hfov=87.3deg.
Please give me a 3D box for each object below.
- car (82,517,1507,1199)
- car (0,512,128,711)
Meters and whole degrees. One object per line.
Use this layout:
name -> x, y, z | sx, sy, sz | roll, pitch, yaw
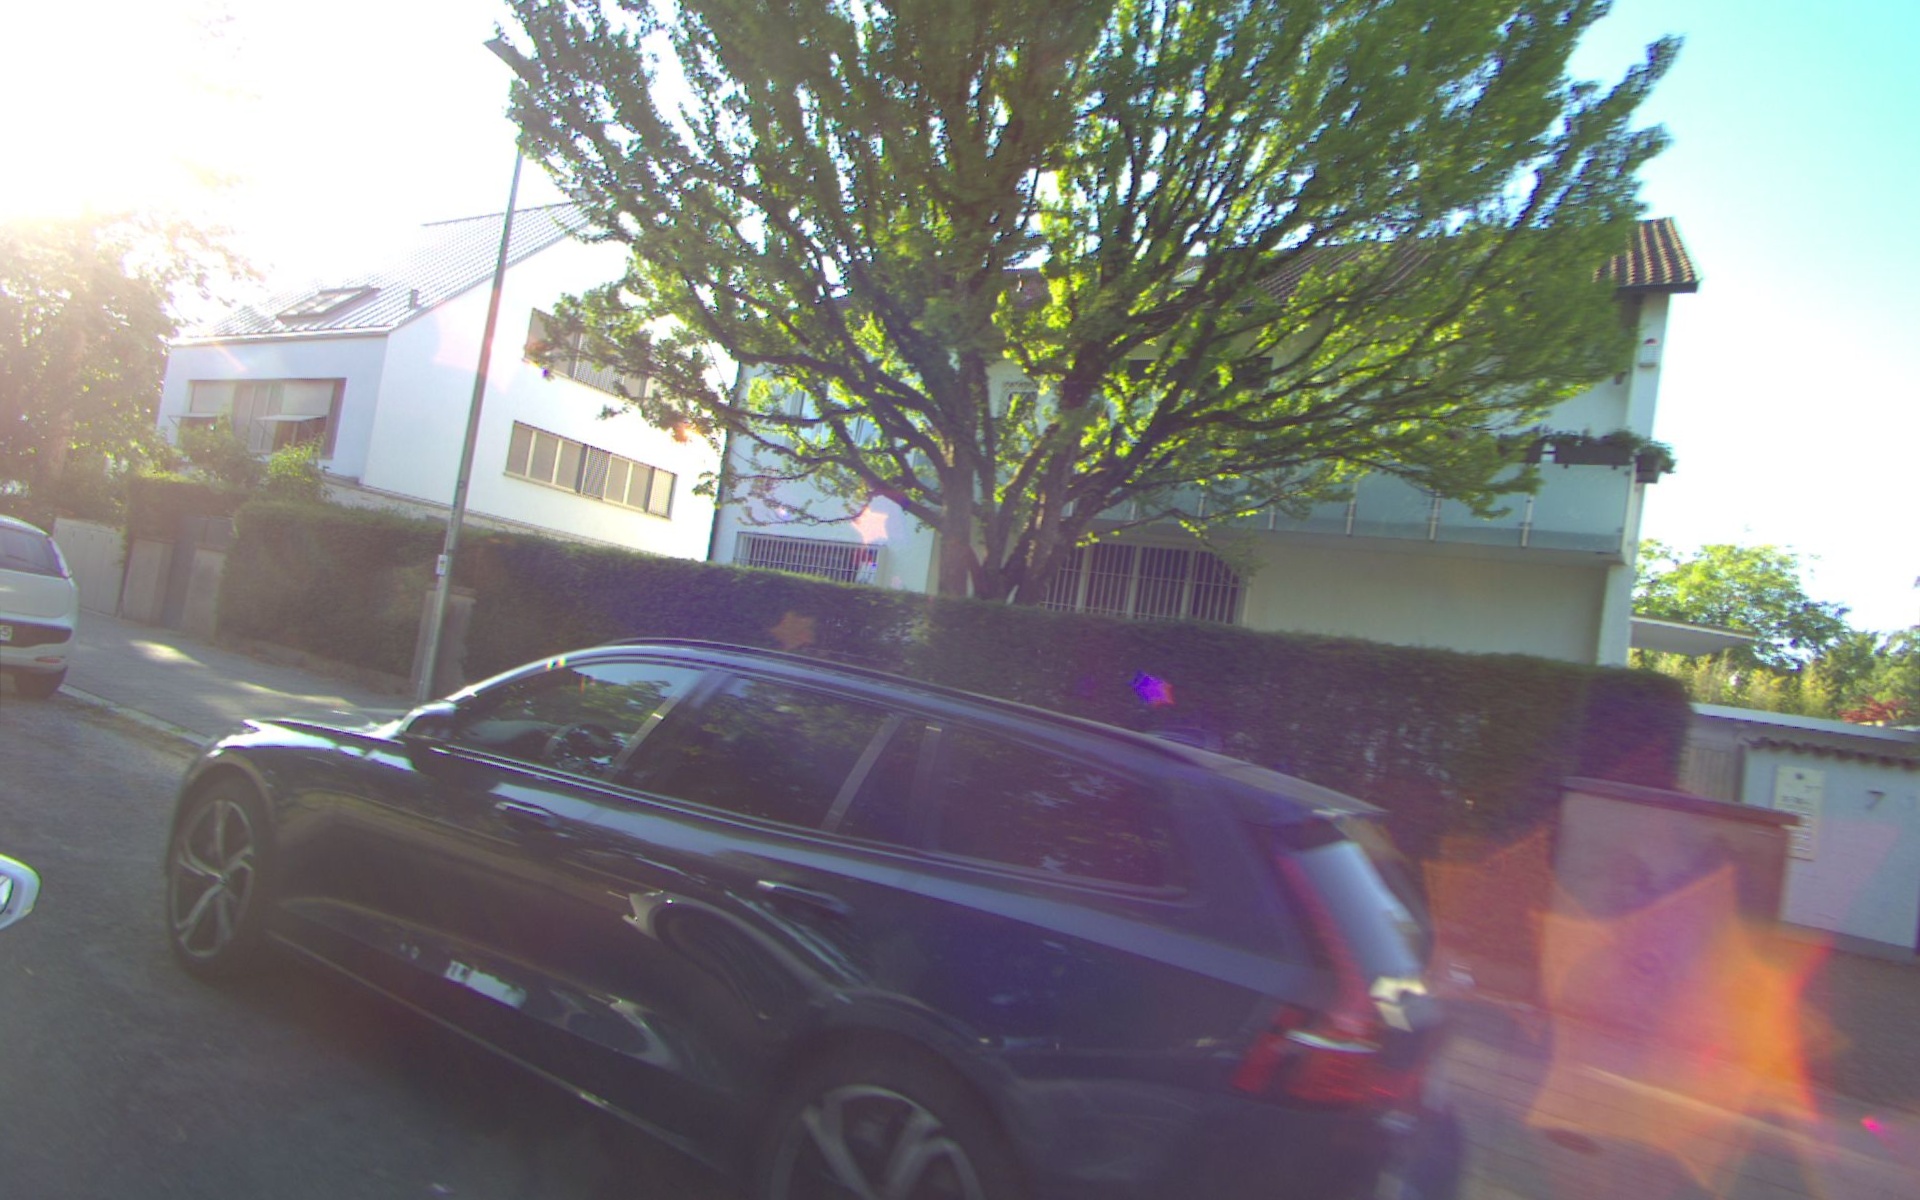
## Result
car -> -0.824, 0.778, 3.459 | 4.595, 1.507, 1.799 | 7, -4, 30
car -> -9.334, -0.177, 8.696 | 3.860, 1.496, 1.701 | 8, -7, 27
